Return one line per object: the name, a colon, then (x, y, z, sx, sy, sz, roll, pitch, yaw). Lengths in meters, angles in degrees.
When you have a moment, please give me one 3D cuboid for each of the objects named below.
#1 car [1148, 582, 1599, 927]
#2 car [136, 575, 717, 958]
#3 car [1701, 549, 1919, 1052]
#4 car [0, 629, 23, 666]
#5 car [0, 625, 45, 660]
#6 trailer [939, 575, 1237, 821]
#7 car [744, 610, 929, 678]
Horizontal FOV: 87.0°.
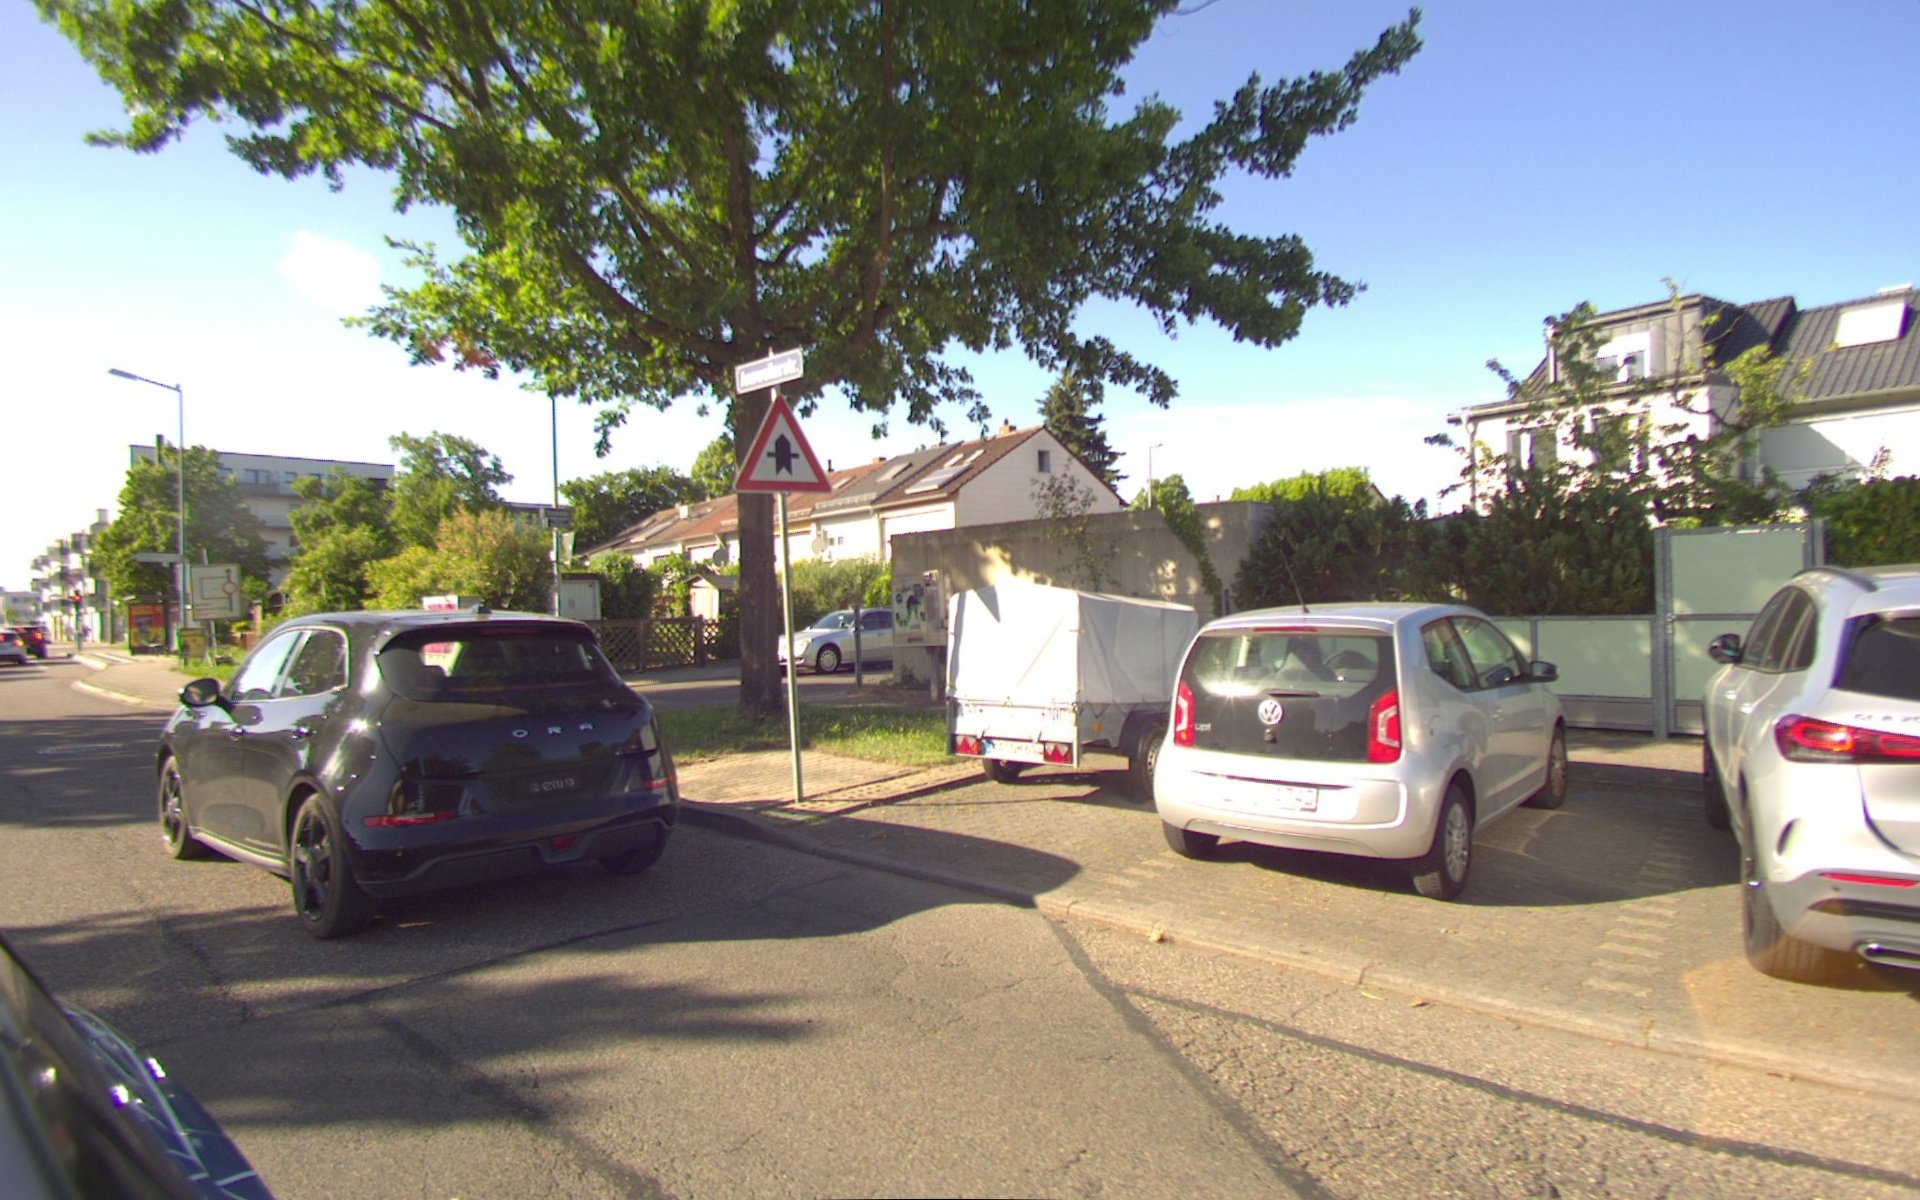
car: (2.732, 0.678, 6.302, 1.615, 1.489, 3.261, -1, 1, 41)
car: (-3.363, 0.785, 6.071, 3.943, 1.552, 1.720, -3, -4, 40)
car: (4.594, 0.565, 4.467, 1.917, 1.586, 3.921, -1, 1, 33)
car: (-39.439, 1.930, 41.113, 3.850, 1.408, 1.742, -1, 0, 43)
car: (-43.677, 1.944, 46.742, 3.850, 1.489, 1.742, -1, 0, 43)
trailer: (1.163, 0.632, 8.329, 1.297, 1.659, 2.734, 0, 1, 36)
car: (-2.802, 0.960, 23.506, 3.940, 1.413, 1.893, 0, -1, -44)
